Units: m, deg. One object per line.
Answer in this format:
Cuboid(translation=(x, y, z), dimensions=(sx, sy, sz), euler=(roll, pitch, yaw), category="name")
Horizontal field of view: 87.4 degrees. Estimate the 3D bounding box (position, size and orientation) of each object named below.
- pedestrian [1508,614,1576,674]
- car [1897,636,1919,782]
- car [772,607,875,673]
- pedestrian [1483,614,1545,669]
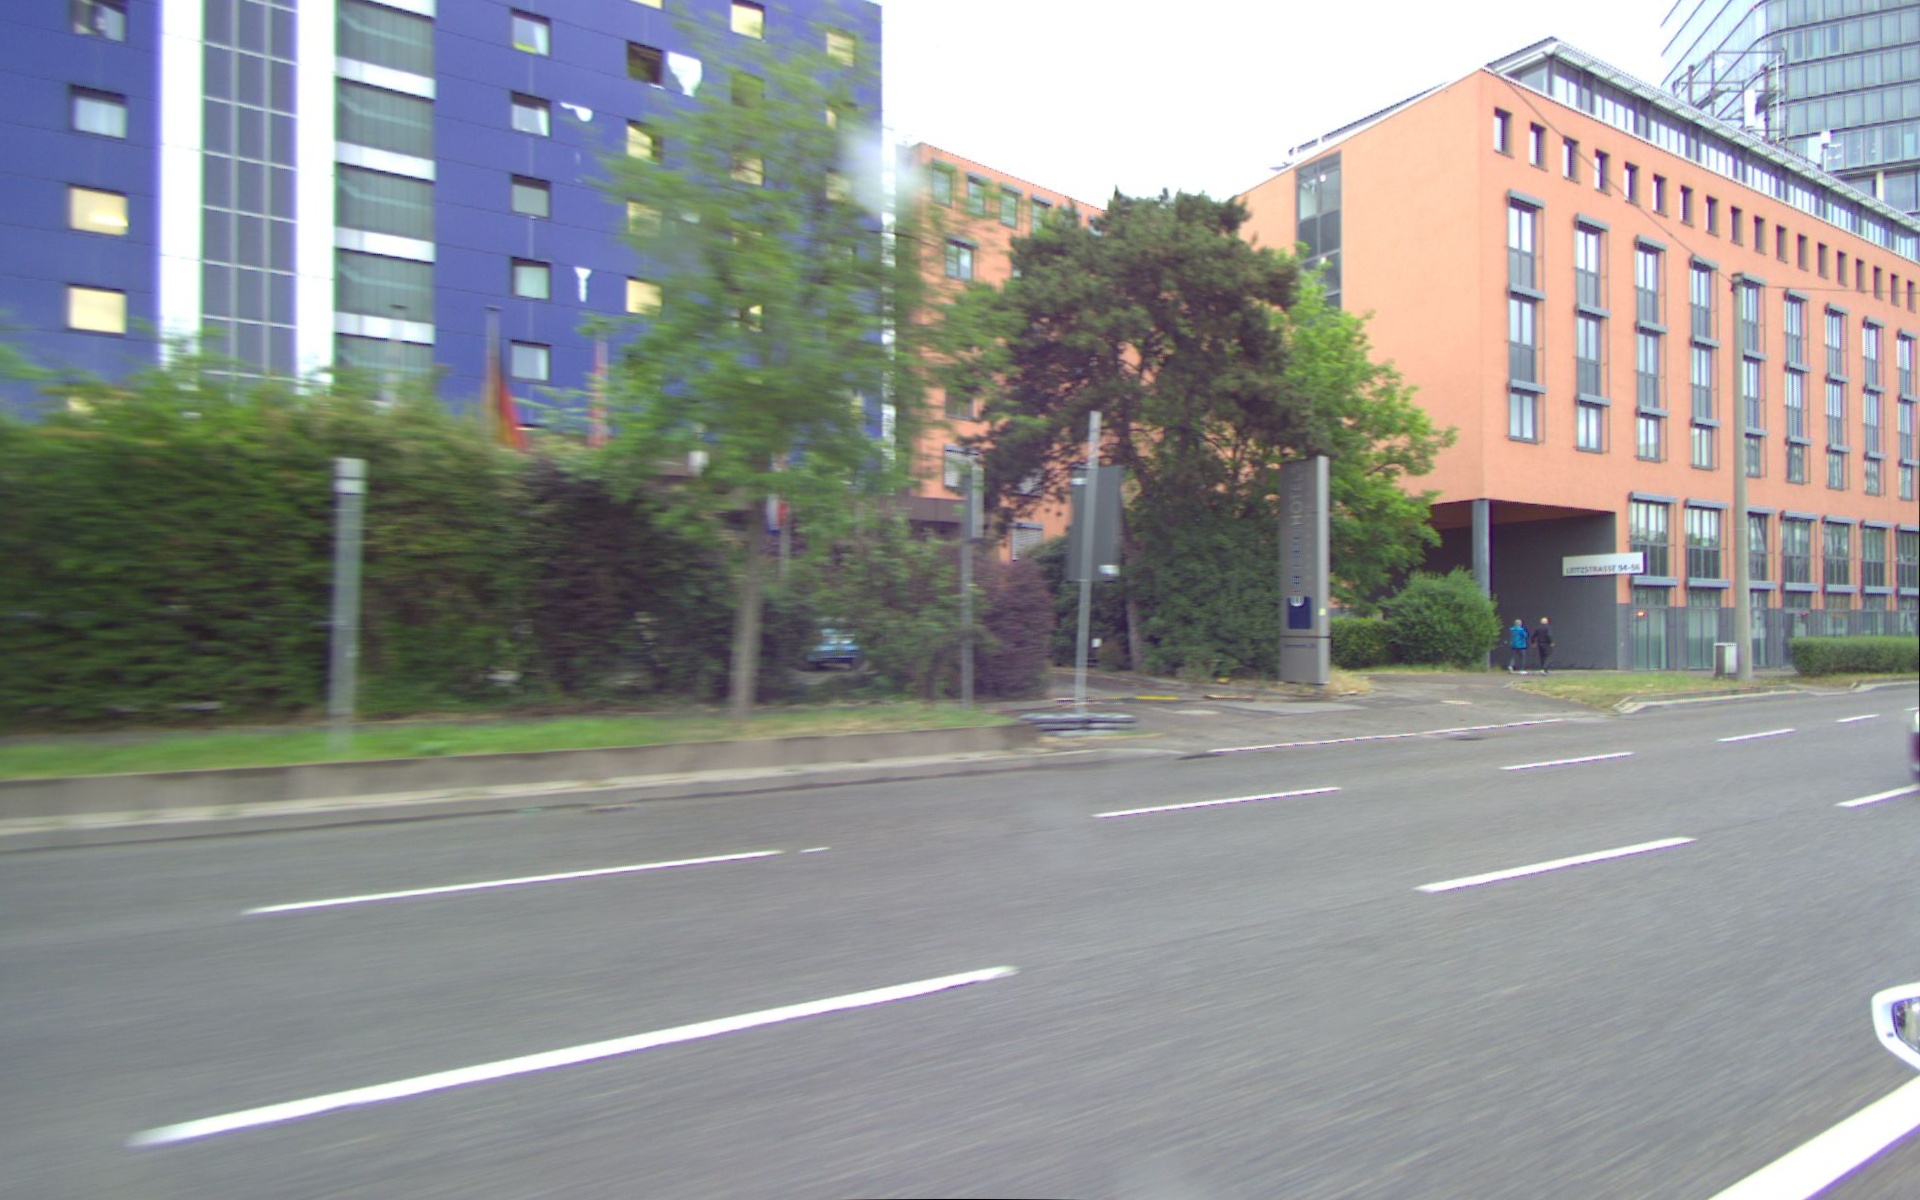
Cuboid(translation=(18.608, 1.444, 32.128), dimensions=(1.422, 1.847, 1.310), euler=(3, -5, -29), category="pedestrian")
Cuboid(translation=(11.116, 1.056, 10.008), dimensions=(3.957, 1.383, 1.702), euler=(2, -3, -33), category="car")
Cuboid(translation=(-3.952, 1.075, 28.631), dimensions=(1.722, 1.727, 3.973), euler=(0, -1, -27), category="car")
Cuboid(translation=(18.105, 1.382, 32.827), dimensions=(1.403, 1.700, 1.201), euler=(3, -5, -29), category="pedestrian")
